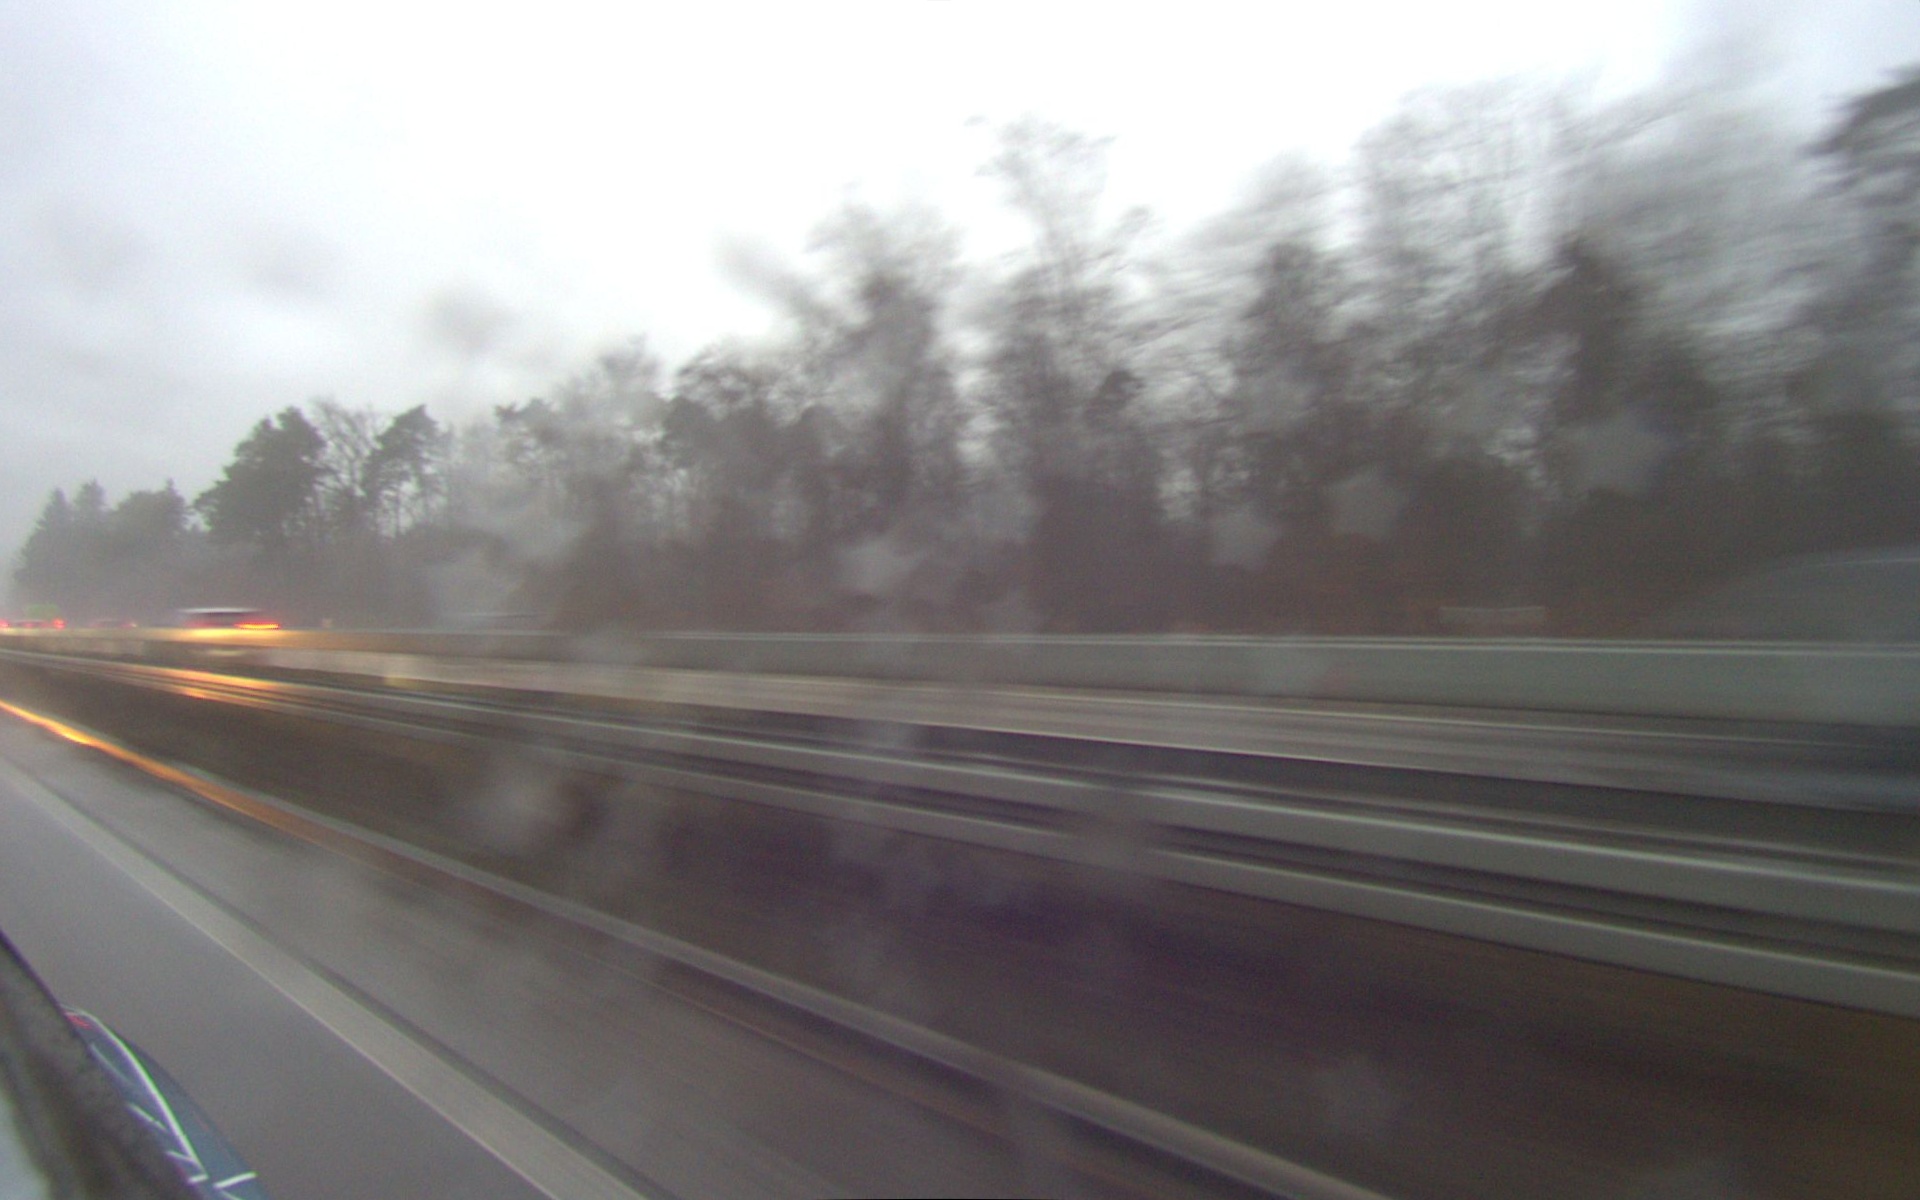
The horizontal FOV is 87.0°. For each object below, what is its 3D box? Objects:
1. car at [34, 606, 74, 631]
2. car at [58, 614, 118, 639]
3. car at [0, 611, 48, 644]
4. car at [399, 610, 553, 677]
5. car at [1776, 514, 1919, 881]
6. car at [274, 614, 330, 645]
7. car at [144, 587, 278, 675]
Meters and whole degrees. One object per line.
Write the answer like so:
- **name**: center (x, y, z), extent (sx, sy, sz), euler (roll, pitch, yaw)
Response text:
- **car**: center (-70.444, 1.414, 78.673), extent (3.998, 1.898, 1.831), euler (-1, 0, 41)
- **car**: center (-48.341, 1.456, 56.073), extent (3.998, 1.294, 1.973), euler (-1, 0, 41)
- **car**: center (-46.939, 1.331, 50.373), extent (3.998, 1.557, 1.808), euler (-1, 0, 41)
- **car**: center (-12.108, 1.015, 25.173), extent (4.719, 1.496, 1.735), euler (-1, 0, 41)
- **car**: center (5.995, 0.399, 3.867), extent (4.420, 1.590, 1.661), euler (-1, 0, 41)
- **car**: center (-32.481, 1.430, 49.918), extent (3.754, 1.427, 1.510), euler (-1, 0, 45)
- **car**: center (-20.090, 0.754, 27.086), extent (4.571, 2.146, 1.973), euler (0, 0, 41)
